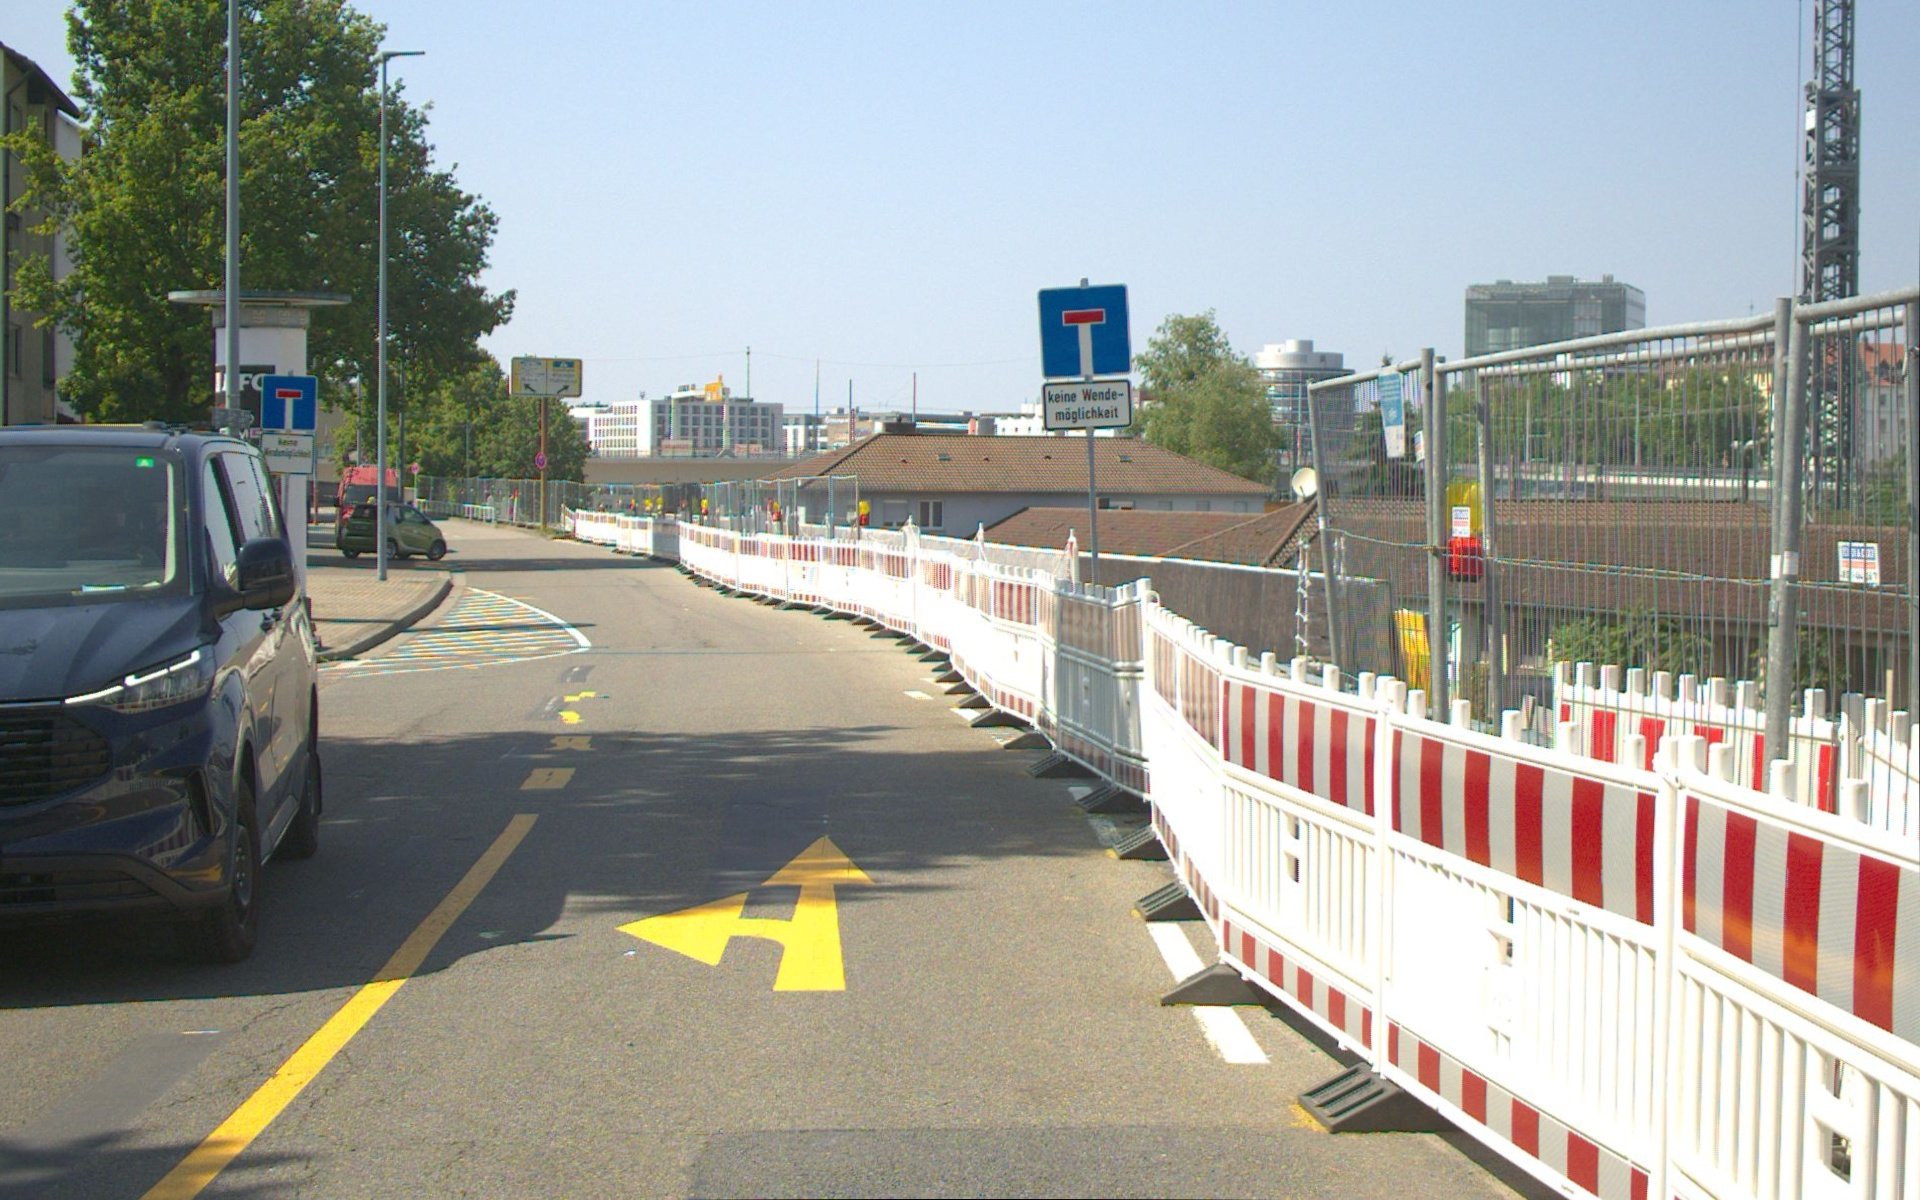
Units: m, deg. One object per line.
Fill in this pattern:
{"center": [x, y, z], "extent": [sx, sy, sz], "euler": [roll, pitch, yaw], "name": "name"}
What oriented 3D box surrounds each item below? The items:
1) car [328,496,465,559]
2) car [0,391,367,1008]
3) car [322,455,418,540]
{"center": [-15.304, -1.964, 93.484], "extent": [1.725, 1.632, 3.273], "euler": [2, 1, 43], "name": "car"}
{"center": [-3.637, 0.254, 13.720], "extent": [2.176, 1.961, 5.446], "euler": [-2, 2, -7], "name": "car"}
{"center": [-18.363, -3.172, 107.206], "extent": [2.537, 2.511, 5.119], "euler": [1, 1, -6], "name": "car"}
